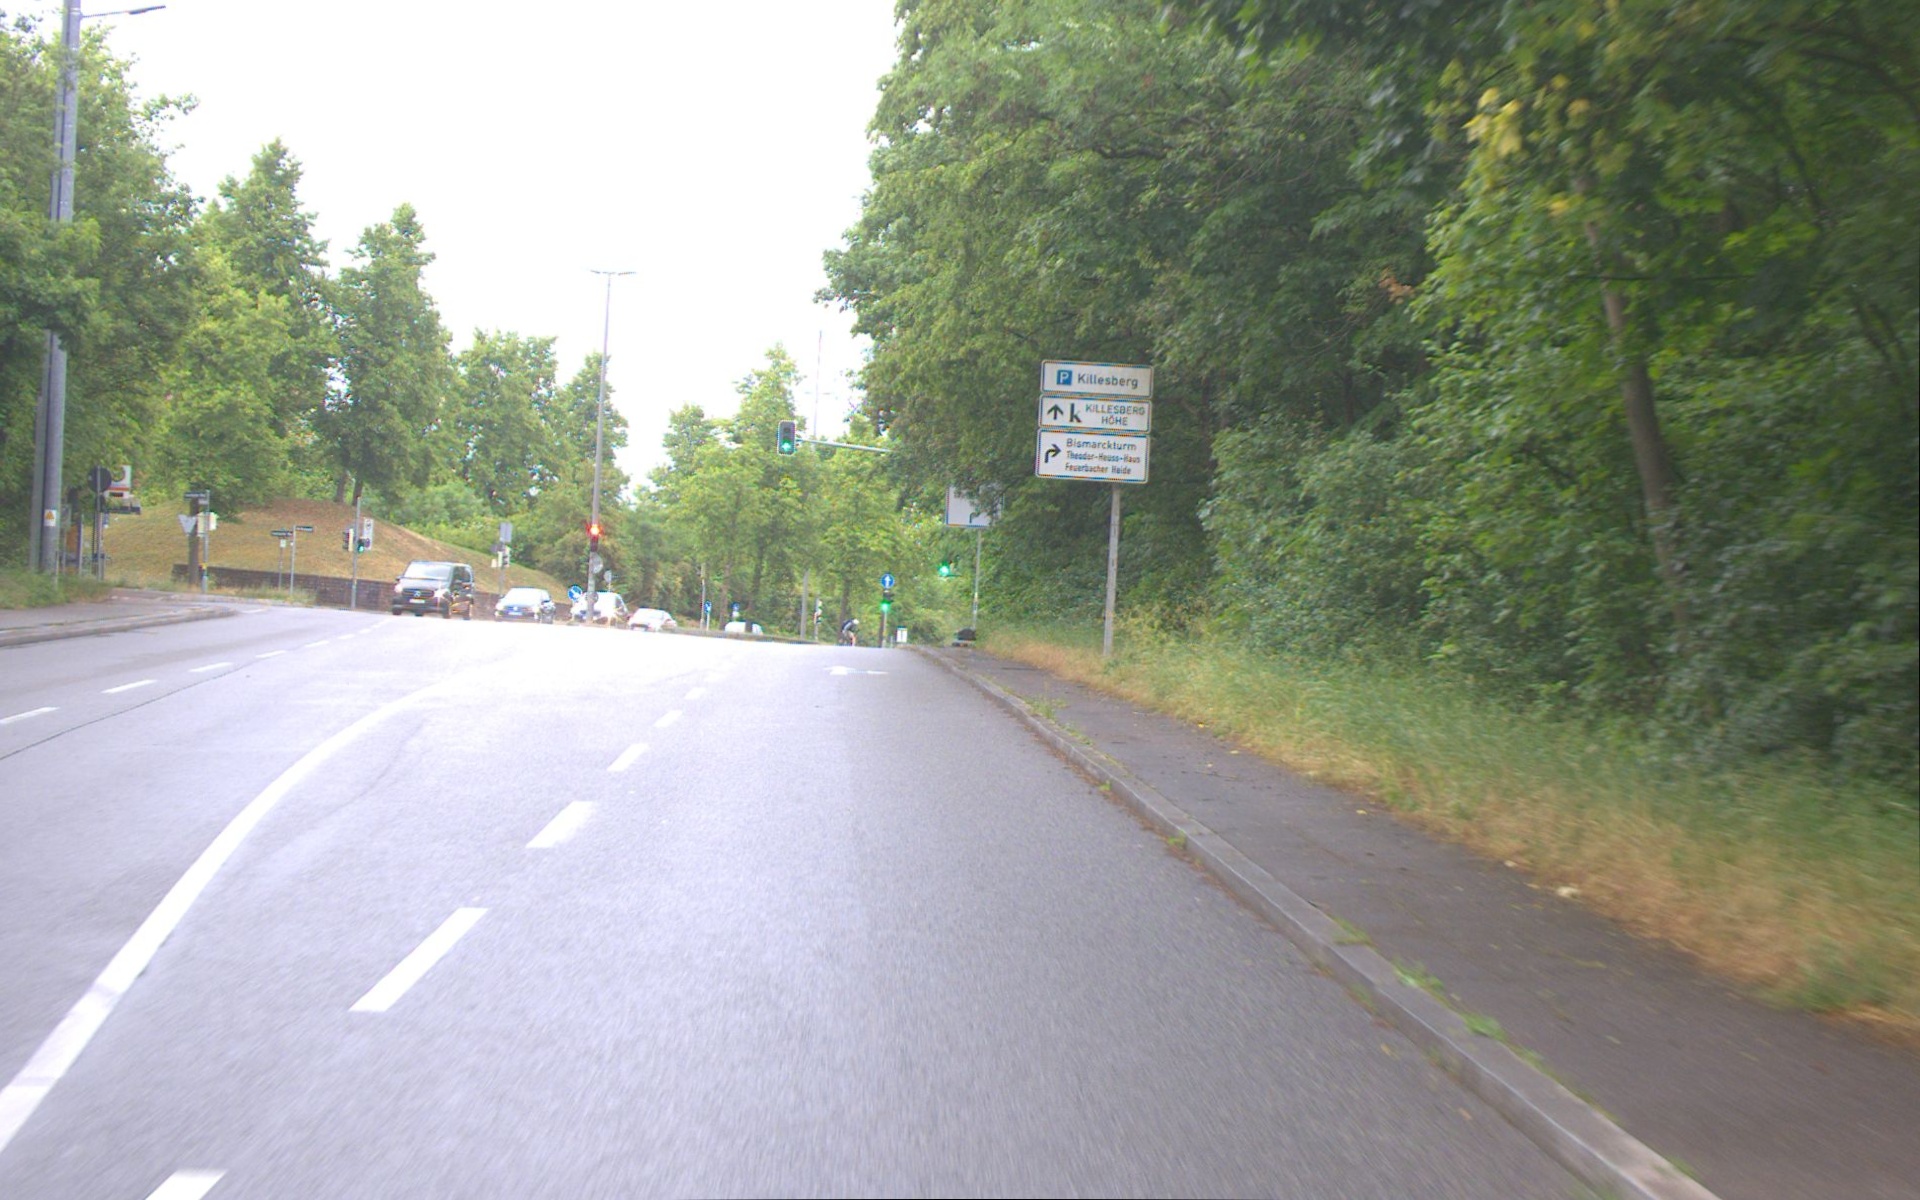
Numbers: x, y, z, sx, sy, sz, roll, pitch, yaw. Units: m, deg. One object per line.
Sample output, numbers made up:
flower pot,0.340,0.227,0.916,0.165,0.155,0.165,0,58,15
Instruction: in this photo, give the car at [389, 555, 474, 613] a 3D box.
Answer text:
car,-17.486,-0.509,113.908,1.994,1.842,3.999,1,-1,3

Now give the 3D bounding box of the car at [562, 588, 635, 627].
car,-13.289,0.282,126.516,1.898,1.349,3.999,1,-1,5

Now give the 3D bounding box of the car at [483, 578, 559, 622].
car,-16.461,0.015,129.034,1.898,1.546,3.999,1,-1,7

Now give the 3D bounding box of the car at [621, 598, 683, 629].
car,-13.641,0.609,152.318,1.898,1.349,3.998,1,-1,8
